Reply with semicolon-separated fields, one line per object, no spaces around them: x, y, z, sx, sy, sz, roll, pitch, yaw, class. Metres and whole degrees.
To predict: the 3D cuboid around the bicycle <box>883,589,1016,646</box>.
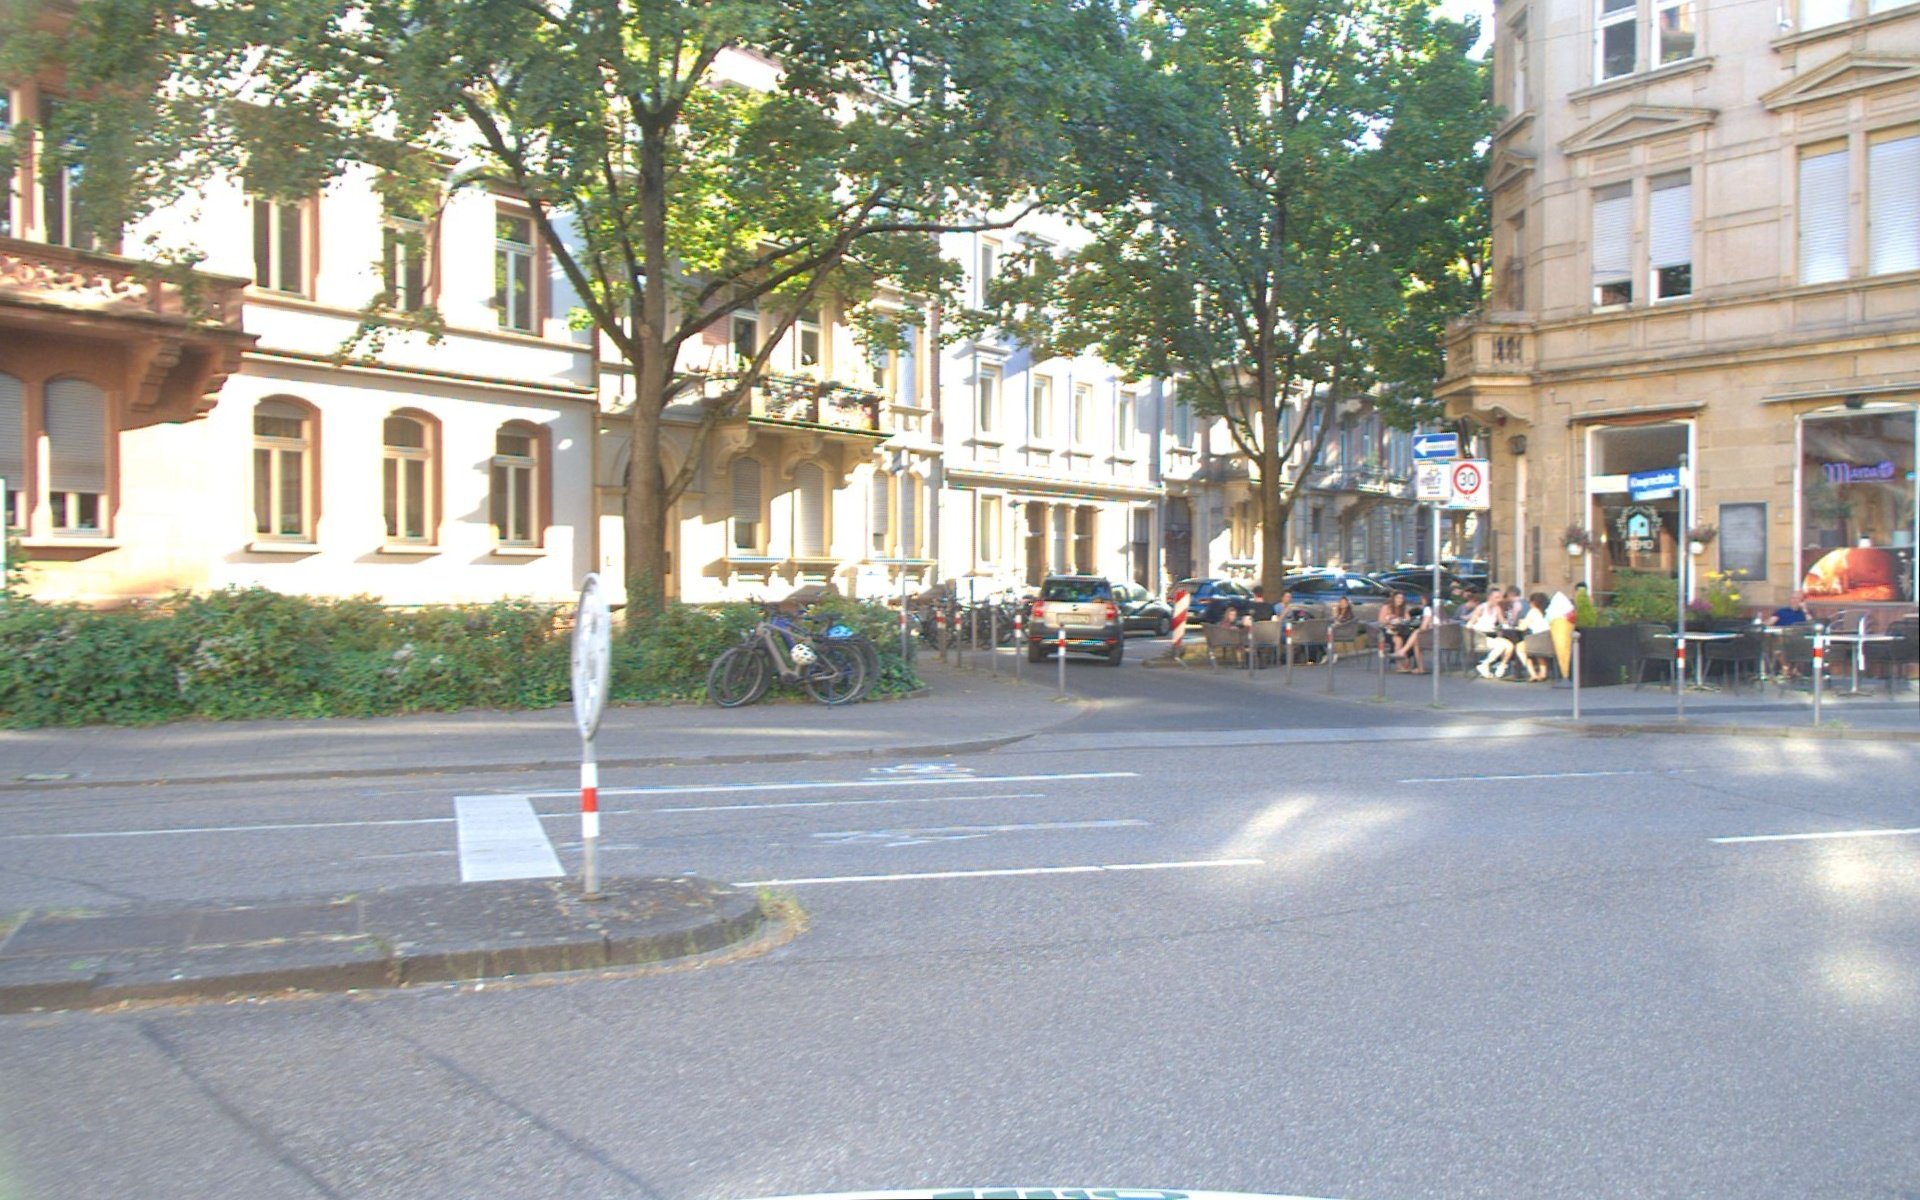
-0.259;0.366;36.525;3.073;1.201;0.749;0;1;35;bicycle

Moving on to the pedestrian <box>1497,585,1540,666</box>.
8.904;0.395;26.362;0.426;1.270;0.479;-1;1;-23;pedestrian

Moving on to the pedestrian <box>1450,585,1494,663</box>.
8.426;0.389;27.230;0.502;1.270;0.479;-1;1;-23;pedestrian

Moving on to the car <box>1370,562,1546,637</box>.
11.845;-0.037;39.334;3.903;1.713;2.001;0;1;19;car

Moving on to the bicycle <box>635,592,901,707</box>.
-2.126;0.524;18.432;2.902;1.217;0.545;0;1;-17;bicycle

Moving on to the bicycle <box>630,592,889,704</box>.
-2.291;0.528;19.001;2.902;1.217;0.545;0;1;-17;bicycle

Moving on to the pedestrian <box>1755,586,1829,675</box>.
11.869;0.425;23.596;0.749;1.235;0.717;-1;1;-40;pedestrian

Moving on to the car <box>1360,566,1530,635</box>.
12.259;-0.002;42.020;3.902;1.713;2.002;0;1;9;car

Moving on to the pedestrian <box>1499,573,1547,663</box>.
9.245;0.288;27.180;0.476;1.456;0.563;-1;1;-31;pedestrian

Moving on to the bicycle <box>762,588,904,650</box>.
-2.576;0.357;33.123;3.073;1.201;0.749;0;1;35;bicycle

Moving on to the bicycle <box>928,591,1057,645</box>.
0.728;0.390;37.890;3.073;1.201;0.749;0;1;35;bicycle

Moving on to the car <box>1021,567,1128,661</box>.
2.254;0.234;32.195;1.951;1.713;4.003;0;1;5;car

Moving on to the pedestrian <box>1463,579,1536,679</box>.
7.977;0.413;24.453;0.718;1.435;0.748;0;1;-32;pedestrian

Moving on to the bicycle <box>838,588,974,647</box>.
-1.166;0.344;35.159;3.073;1.201;0.749;0;1;35;bicycle

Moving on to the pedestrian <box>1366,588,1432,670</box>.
6.998;0.454;26.370;0.736;1.270;0.702;-1;1;-23;pedestrian

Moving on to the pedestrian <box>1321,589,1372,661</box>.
6.799;0.440;29.112;0.663;1.237;0.666;-1;-1;-10;pedestrian

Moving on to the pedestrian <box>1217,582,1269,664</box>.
5.056;0.407;29.561;0.750;1.437;0.667;-1;-1;-6;pedestrian

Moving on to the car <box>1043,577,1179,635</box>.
3.908;0.121;42.324;1.890;1.400;3.739;0;1;35;car

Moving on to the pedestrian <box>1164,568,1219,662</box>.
4.248;0.272;30.410;0.754;1.699;0.663;-1;-1;-22;pedestrian

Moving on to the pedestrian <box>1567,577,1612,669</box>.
9.710;0.347;25.526;0.427;1.391;0.477;-1;1;-29;pedestrian

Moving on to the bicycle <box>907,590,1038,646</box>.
0.258;0.378;37.189;3.073;1.201;0.749;0;1;35;bicycle

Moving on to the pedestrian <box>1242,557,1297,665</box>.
5.265;0.183;28.189;0.750;1.801;0.571;-1;-1;-8;pedestrian

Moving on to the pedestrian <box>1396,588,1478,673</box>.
7.352;0.457;25.538;0.737;1.270;1.017;-1;1;-23;pedestrian

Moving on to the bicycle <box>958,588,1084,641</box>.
1.411;0.317;38.802;3.073;1.201;0.749;0;1;35;bicycle

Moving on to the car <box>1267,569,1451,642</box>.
8.849;0.117;36.900;3.743;1.589;1.804;0;1;4;car

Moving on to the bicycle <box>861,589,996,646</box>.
-0.705;0.355;35.849;3.073;1.201;0.749;0;1;35;bicycle

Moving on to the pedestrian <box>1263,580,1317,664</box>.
5.878;0.385;29.511;0.750;1.467;0.667;-1;-1;-8;pedestrian

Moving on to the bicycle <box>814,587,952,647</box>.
-1.621;0.336;34.517;3.073;1.201;0.749;0;1;35;bicycle

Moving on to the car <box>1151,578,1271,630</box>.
7.095;0.091;46.471;1.890;1.400;3.739;0;1;35;car

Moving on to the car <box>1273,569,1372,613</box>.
11.906;-0.317;54.214;1.890;1.400;3.739;0;1;35;car

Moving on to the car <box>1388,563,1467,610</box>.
17.728;-0.516;62.627;1.776;1.713;3.739;0;1;35;car

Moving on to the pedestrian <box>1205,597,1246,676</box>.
4.595;0.623;28.676;0.560;1.343;0.504;-1;1;-10;pedestrian

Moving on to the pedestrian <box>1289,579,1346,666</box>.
6.154;0.388;28.518;0.750;1.467;0.667;-1;-1;-8;pedestrian

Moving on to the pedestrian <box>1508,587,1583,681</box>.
8.401;0.471;23.742;0.733;1.312;0.738;0;1;-30;pedestrian

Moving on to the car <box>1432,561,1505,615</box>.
20.647;-0.506;67.090;1.776;2.121;3.739;0;1;35;car
